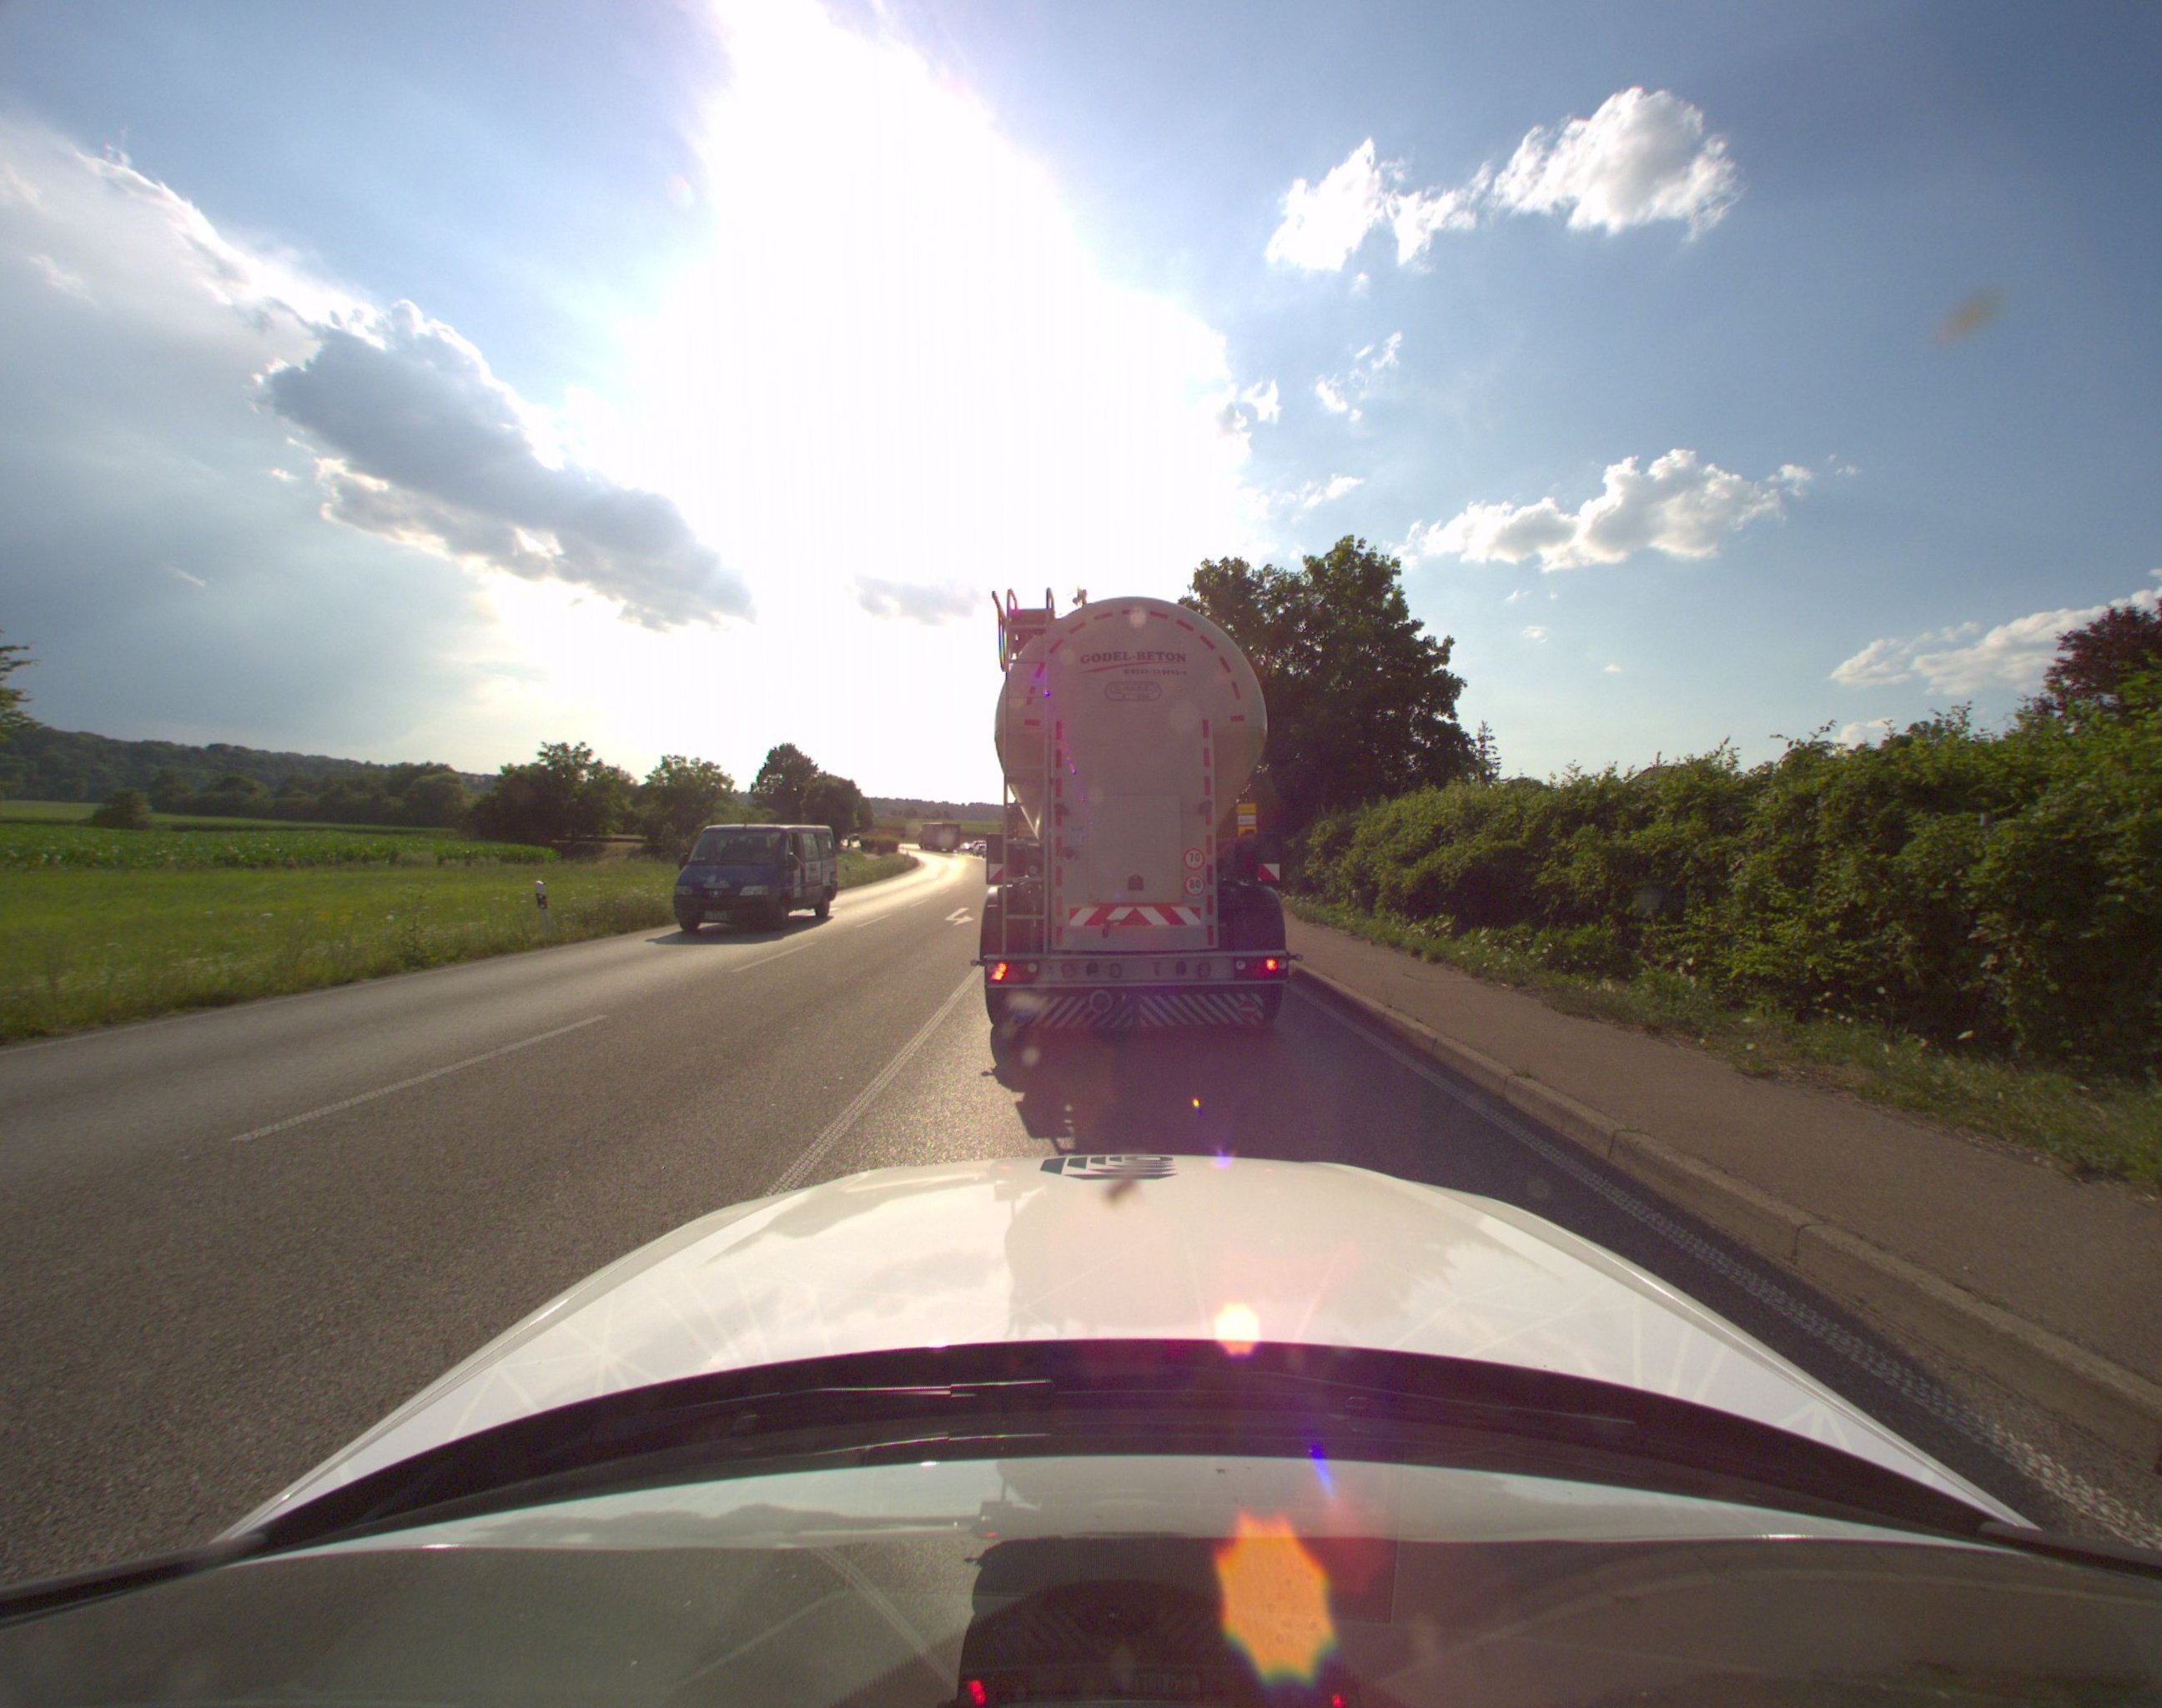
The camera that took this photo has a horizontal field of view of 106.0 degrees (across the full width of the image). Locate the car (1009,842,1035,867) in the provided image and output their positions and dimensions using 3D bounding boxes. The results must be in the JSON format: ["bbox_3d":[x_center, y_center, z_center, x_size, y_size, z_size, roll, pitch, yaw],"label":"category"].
[{"bbox_3d":[-4.917,0.006,68.048,1.861,2.013,3.708,0,0,-9],"label":"car"}]

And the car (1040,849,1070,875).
[{"bbox_3d":[-1.422,0.418,45.272,1.576,1.340,3.423,1,0,-2],"label":"car"}]

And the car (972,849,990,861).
[{"bbox_3d":[-11.859,0.094,96.705,1.583,1.340,3.407,1,0,-16],"label":"car"}]

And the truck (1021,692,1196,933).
[{"bbox_3d":[0.429,-0.700,15.638,2.901,4.006,4.058,0,0,-1],"label":"truck"}]

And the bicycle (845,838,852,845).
[{"bbox_3d":[-35.164,-1.925,123.282,0.634,1.074,1.667,2,0,-6],"label":"bicycle"}]

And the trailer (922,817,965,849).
[{"bbox_3d":[-20.540,-2.999,120.789,3.388,4.350,14.192,1,0,-21],"label":"trailer"}]

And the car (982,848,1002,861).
[{"bbox_3d":[-9.690,0.017,88.536,1.583,1.340,3.407,1,0,-16],"label":"car"}]

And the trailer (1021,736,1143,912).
[{"bbox_3d":[0.264,-0.789,27.232,2.943,4.315,14.182,1,0,2],"label":"trailer"}]

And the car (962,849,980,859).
[{"bbox_3d":[-13.937,-0.023,103.109,1.773,1.206,3.407,1,0,-16],"label":"car"}]

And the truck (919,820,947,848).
[{"bbox_3d":[-23.252,-3.101,127.821,3.388,4.350,5.665,1,0,-21],"label":"truck"}]

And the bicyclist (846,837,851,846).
[{"bbox_3d":[-35.161,-1.924,123.289,0.634,1.419,0.689,2,0,-7],"label":"bicyclist"}]

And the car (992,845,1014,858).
[{"bbox_3d":[-7.917,-0.266,82.364,1.583,1.340,3.407,1,0,-16],"label":"car"}]

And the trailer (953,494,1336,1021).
[{"bbox_3d":[0.462,-0.760,11.184,2.900,4.006,9.927,0,0,0],"label":"trailer"}]

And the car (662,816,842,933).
[{"bbox_3d":[-6.739,0.365,17.341,1.993,2.136,4.776,0,0,-2],"label":"car"}]
